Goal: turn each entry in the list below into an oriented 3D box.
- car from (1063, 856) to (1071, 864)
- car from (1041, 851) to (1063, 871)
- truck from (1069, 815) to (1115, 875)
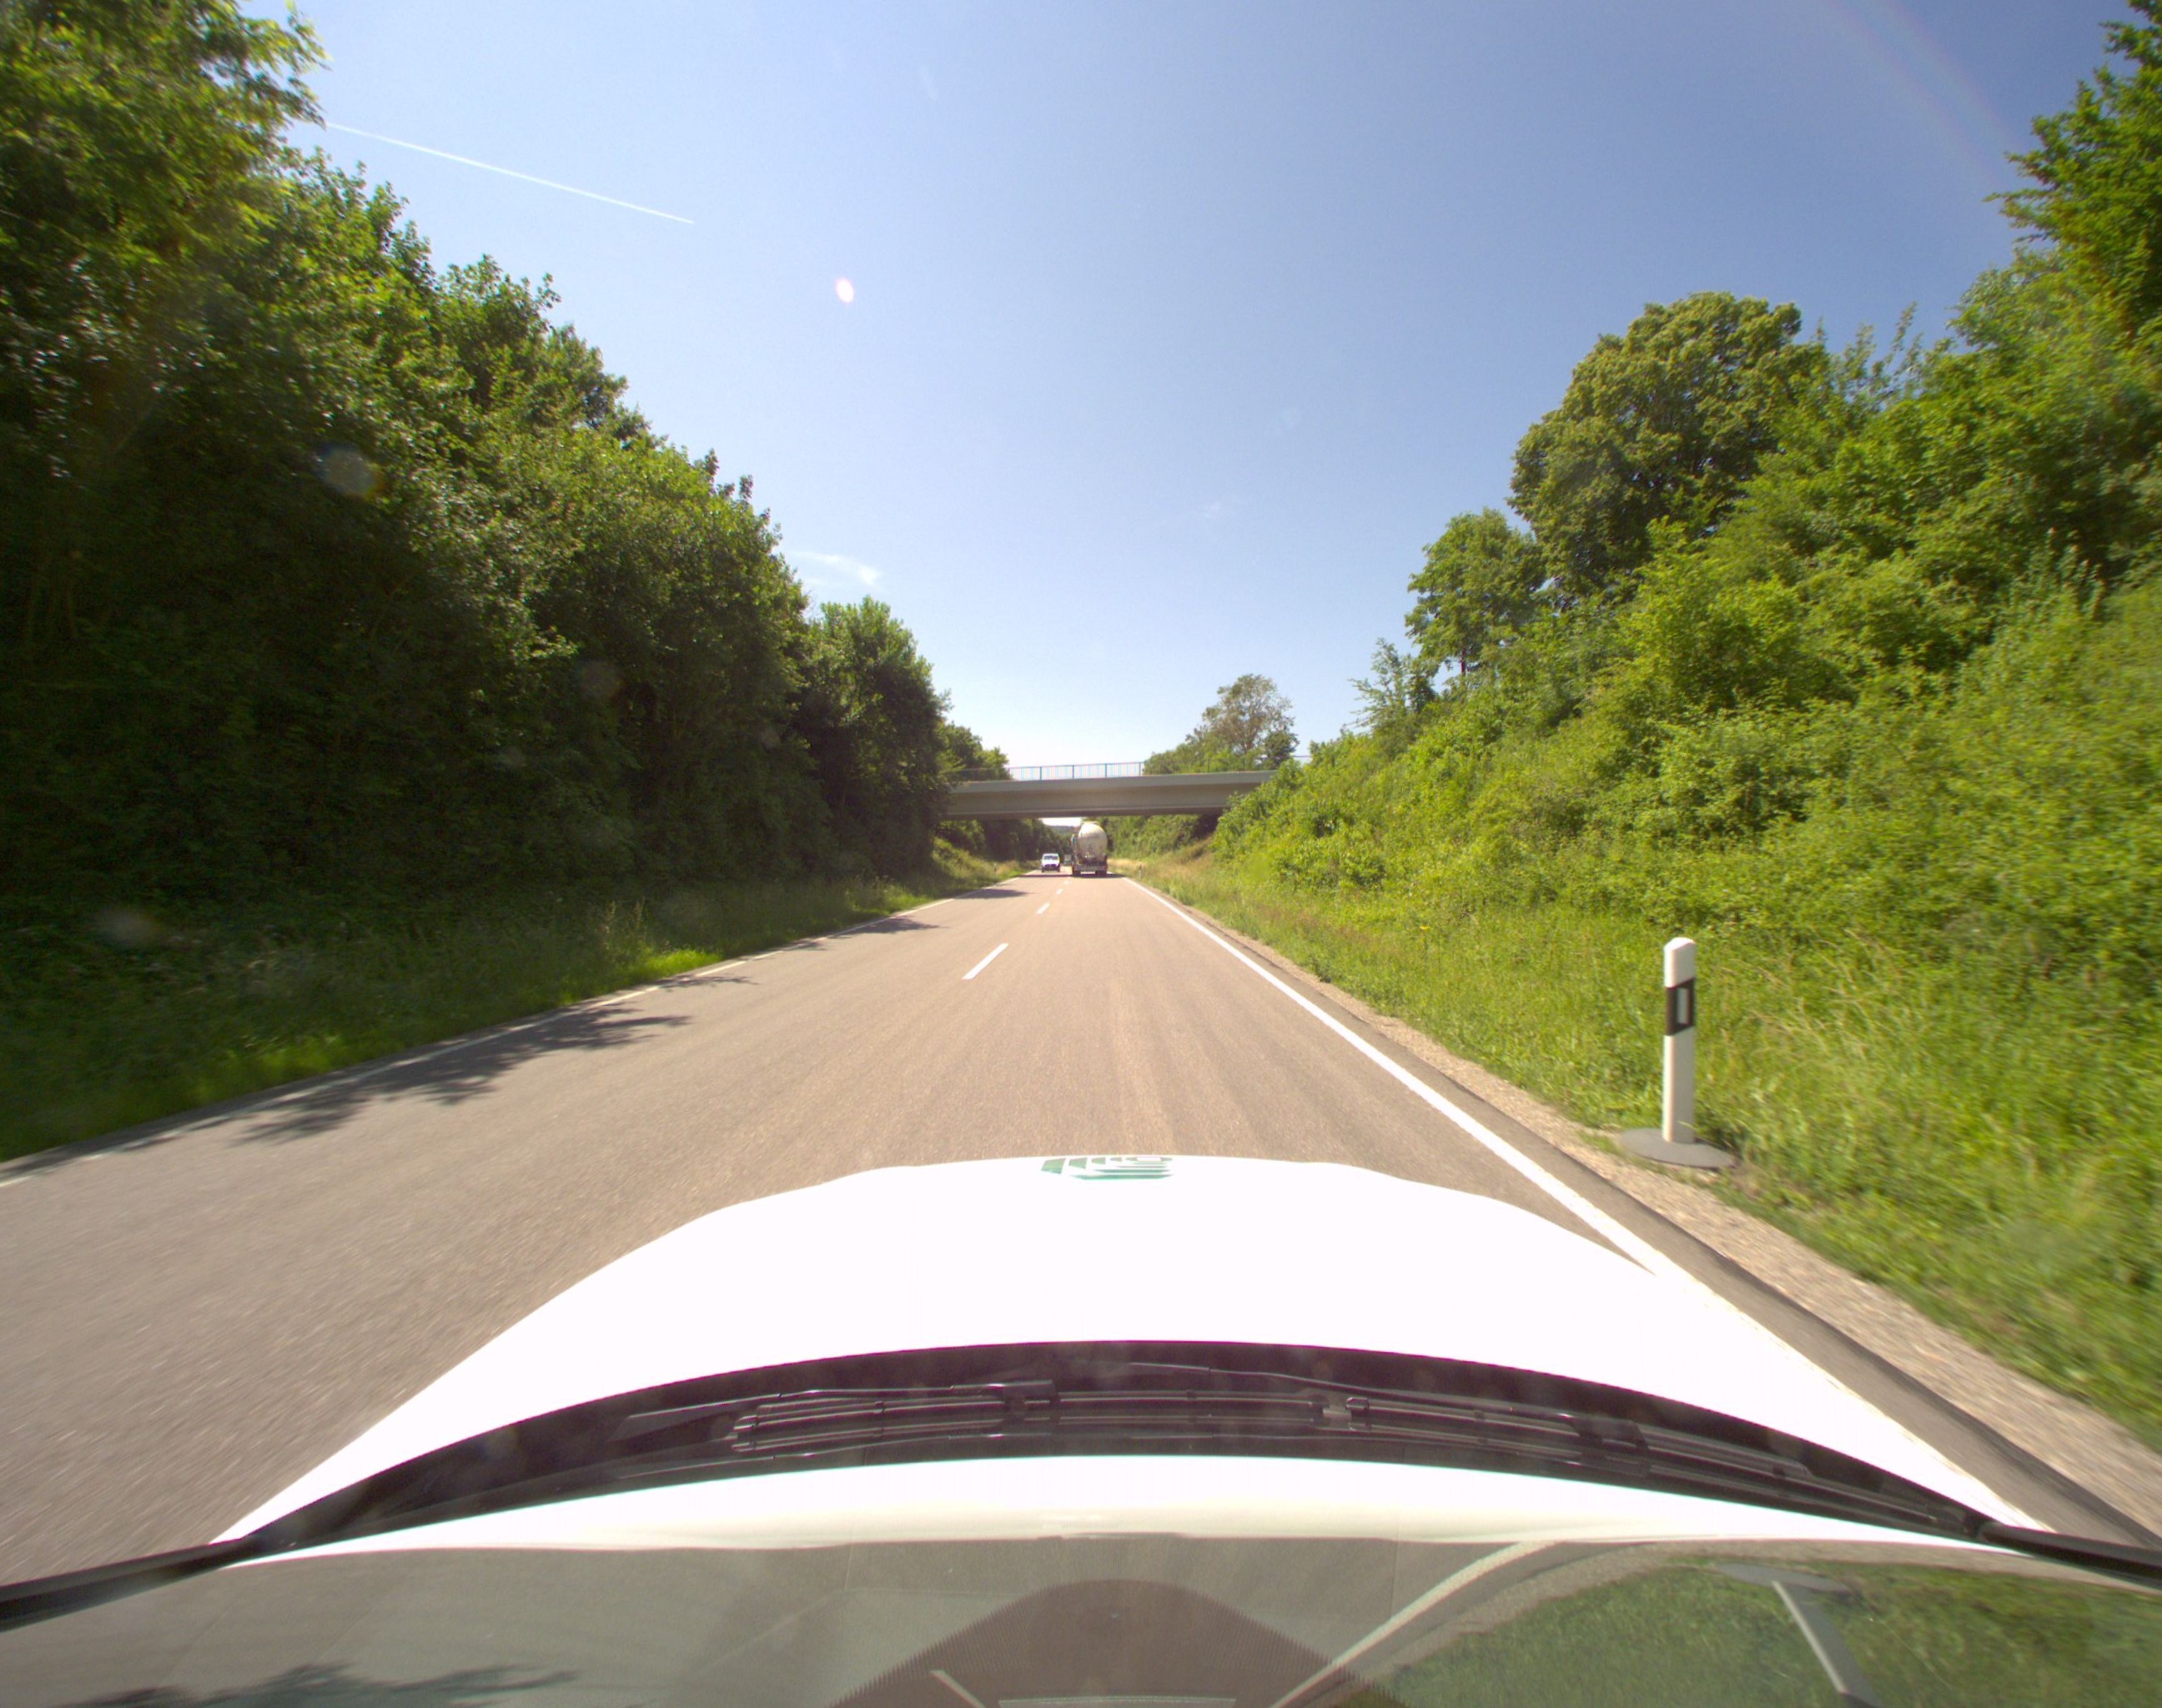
[{"bbox_3d":[-3.563,1.476,210.145,1.988,2.014,3.997,0,0,-2],"label":"car"},{"bbox_3d":[-2.920,0.695,83.073,1.925,1.905,5.327,-1,0,1],"label":"car"},{"bbox_3d":[0.886,-0.452,63.697,3.038,3.998,15.637,2,-1,1],"label":"truck"}]
